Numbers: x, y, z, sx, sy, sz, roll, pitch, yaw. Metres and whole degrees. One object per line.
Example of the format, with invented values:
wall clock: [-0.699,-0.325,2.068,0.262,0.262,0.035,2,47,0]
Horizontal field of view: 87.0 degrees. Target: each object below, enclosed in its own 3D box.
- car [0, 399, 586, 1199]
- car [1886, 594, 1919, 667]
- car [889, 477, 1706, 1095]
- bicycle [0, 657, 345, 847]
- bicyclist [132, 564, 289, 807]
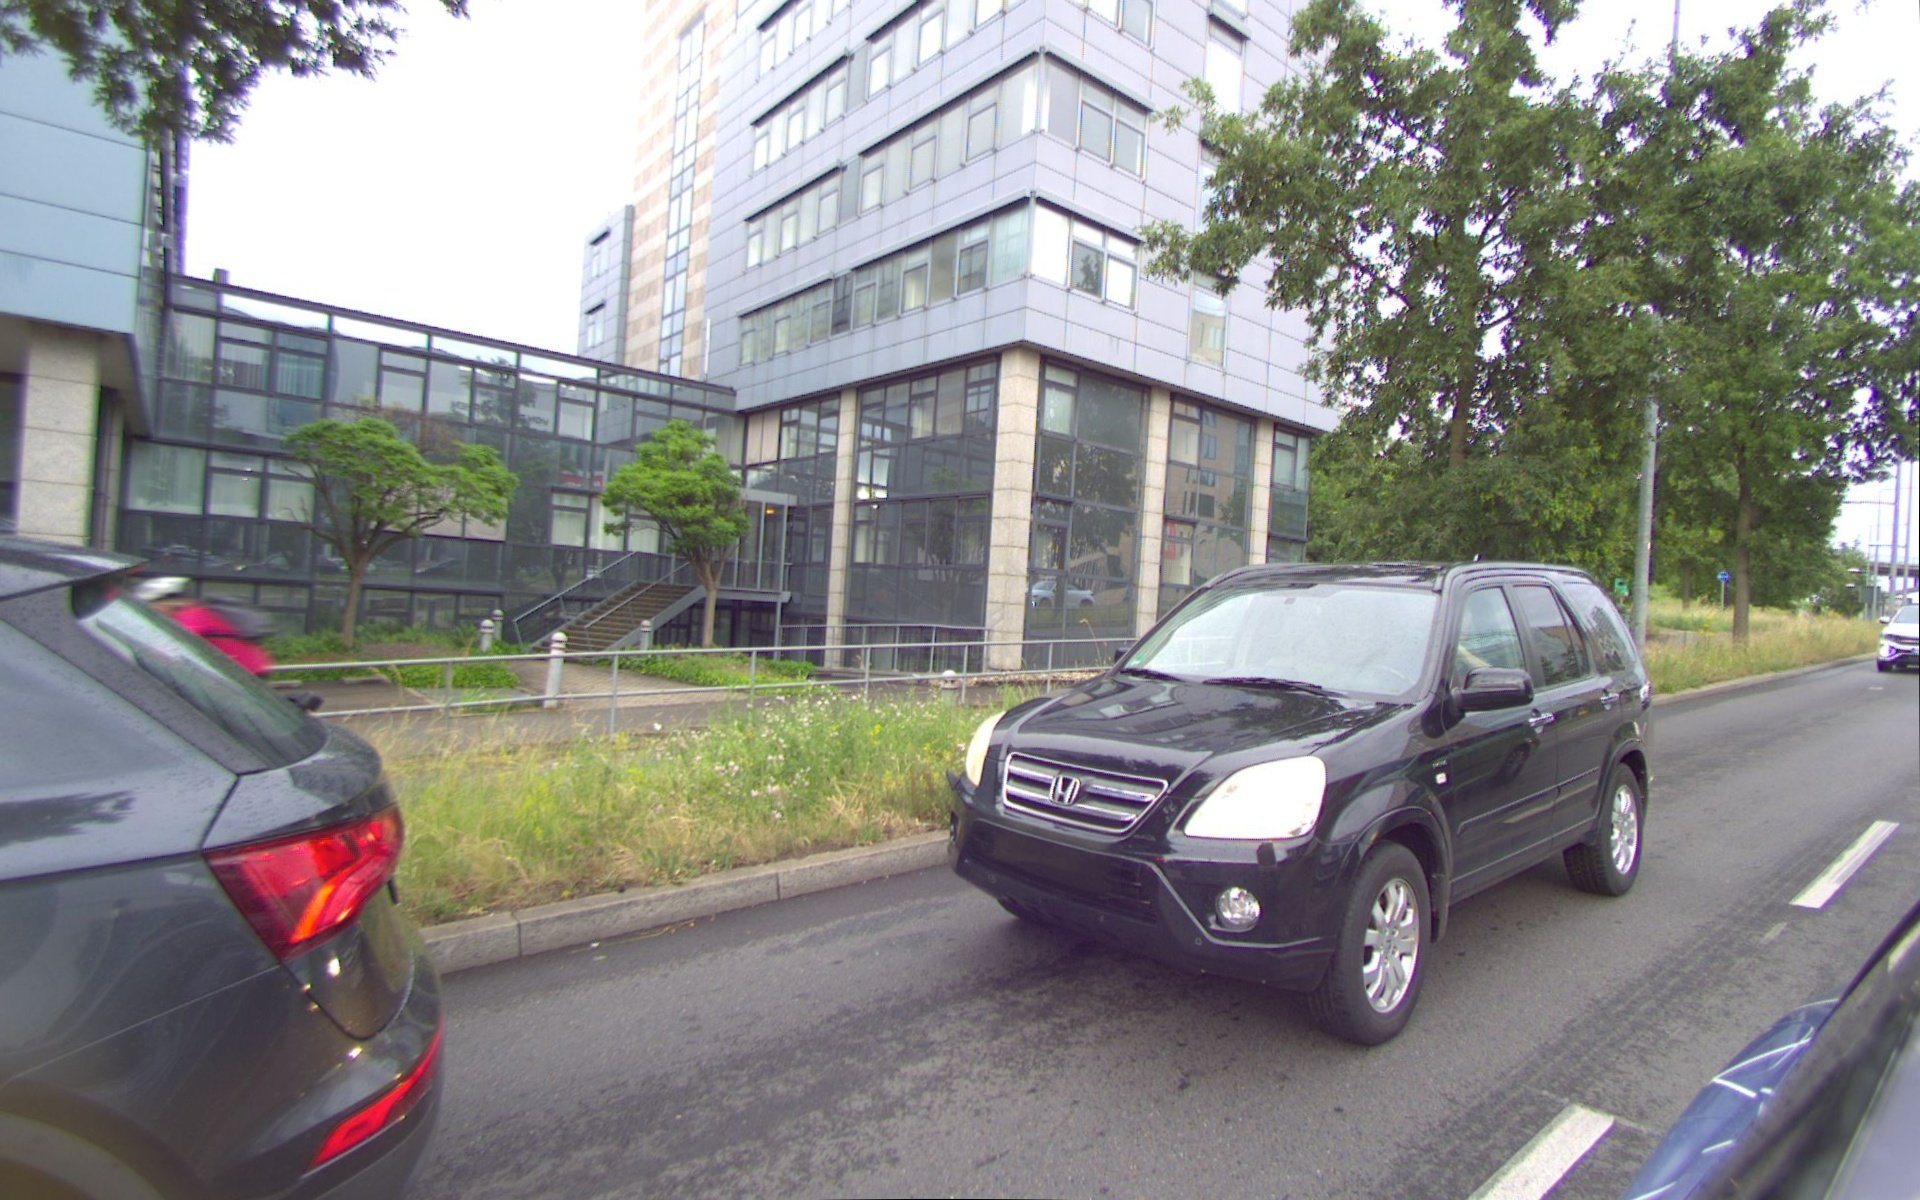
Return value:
car: [-2.906,0.542,1.021,4.392,1.633,1.821,0,1,-41]
car: [21.783,0.655,22.094,3.699,1.522,1.827,0,1,-40]
car: [1.897,0.486,4.818,4.262,1.679,1.758,0,1,-41]
bicycle: [-5.460,0.992,7.113,1.872,1.102,0.581,1,-1,-41]
bicyclist: [-5.330,0.566,7.203,0.839,1.599,0.647,1,-1,-41]
